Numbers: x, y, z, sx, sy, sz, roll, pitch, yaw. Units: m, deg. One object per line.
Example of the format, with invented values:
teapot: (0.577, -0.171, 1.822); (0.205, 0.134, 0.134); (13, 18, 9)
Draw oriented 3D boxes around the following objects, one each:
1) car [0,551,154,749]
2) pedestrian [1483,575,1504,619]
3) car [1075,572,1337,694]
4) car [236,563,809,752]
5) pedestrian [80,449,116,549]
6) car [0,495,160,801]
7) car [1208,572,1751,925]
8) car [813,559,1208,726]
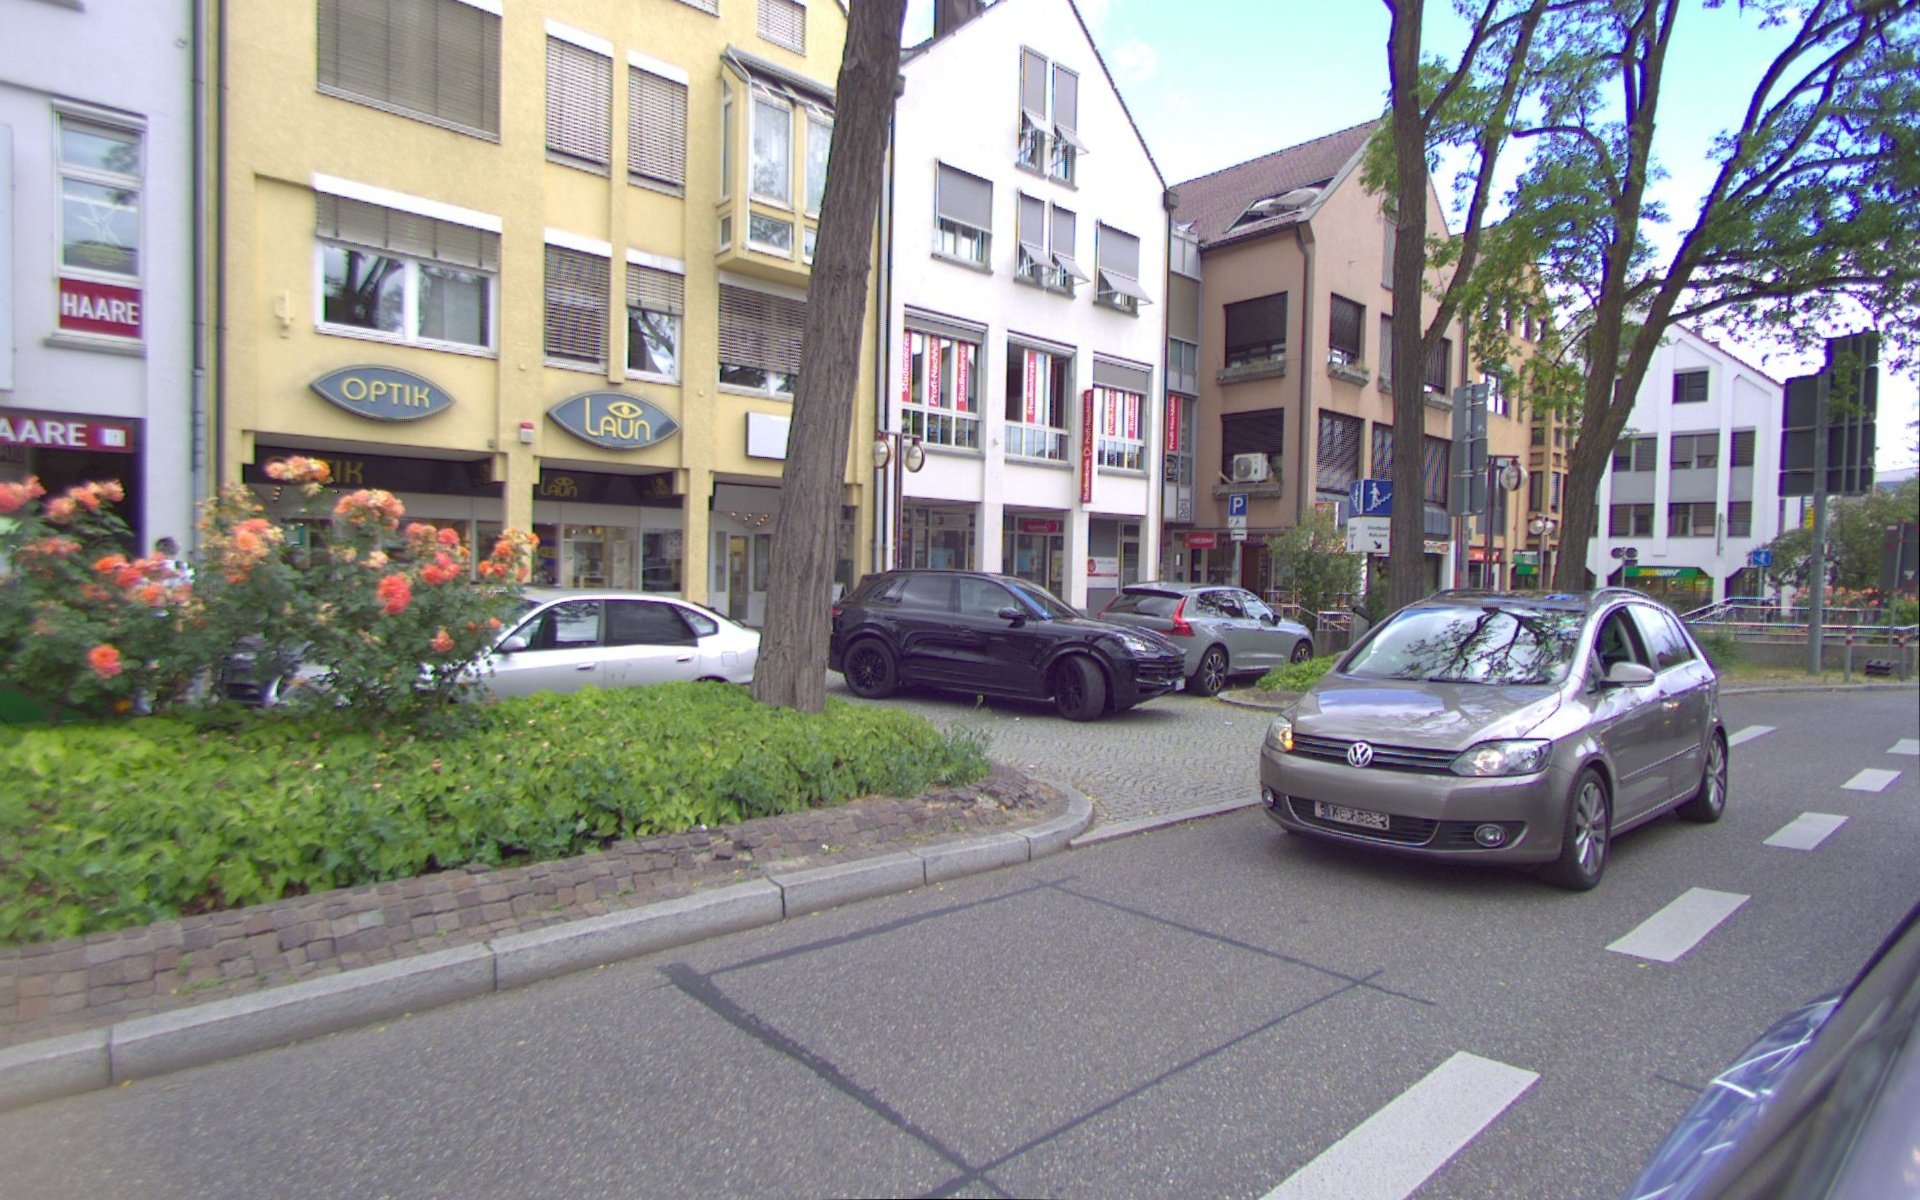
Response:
car: (-9.387, 0.386, 7.924); (4.676, 1.566, 1.996); (-1, 3, -44)
pedestrian: (20.315, -0.115, 38.549); (0.495, 1.645, 0.494); (1, 1, -36)
car: (4.183, 0.423, 16.741); (4.676, 1.674, 1.996); (-1, 3, -44)
car: (-3.909, 0.368, 9.624); (4.674, 1.325, 1.841); (-1, 3, -43)
pedestrian: (-14.539, -1.686, 17.069); (0.417, 1.631, 0.555); (0, 1, -44)
car: (-7.745, 0.264, 5.923); (4.674, 1.899, 1.996); (-1, 3, -43)
car: (3.473, 0.654, 6.444); (3.931, 1.549, 1.799); (0, 0, -42)
car: (0.625, 0.421, 13.191); (4.707, 1.699, 1.982); (3, 2, 26)
